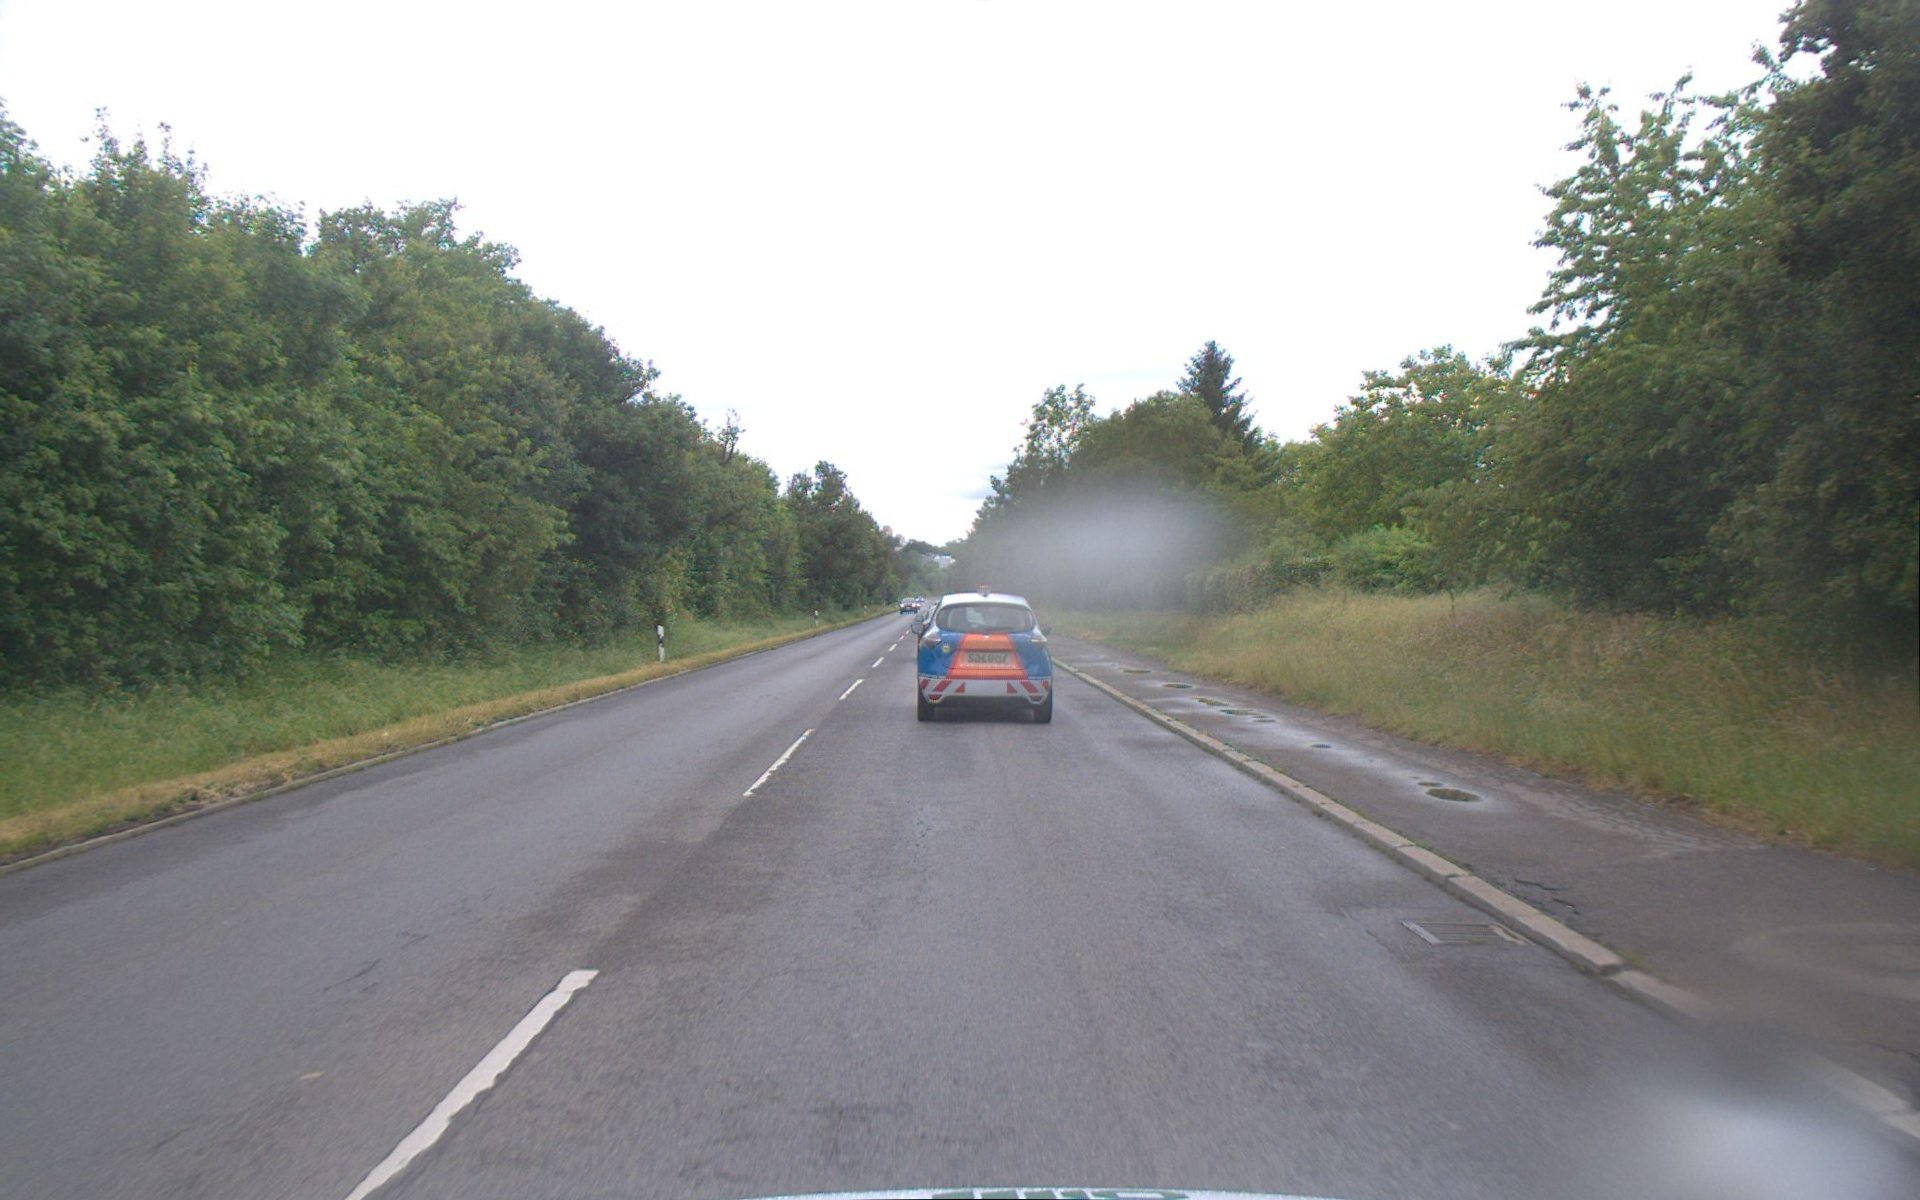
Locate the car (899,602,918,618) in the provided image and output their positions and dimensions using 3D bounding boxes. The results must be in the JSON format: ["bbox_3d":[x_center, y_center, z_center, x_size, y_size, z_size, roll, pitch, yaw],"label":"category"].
[{"bbox_3d":[-5.461,1.051,175.809,1.866,1.584,4.515,-1,0,-1],"label":"car"}]

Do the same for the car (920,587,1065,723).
[{"bbox_3d":[0.359,0.646,21.593,1.716,1.583,3.792,0,1,-1],"label":"car"}]

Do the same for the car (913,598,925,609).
[{"bbox_3d":[-5.750,0.542,233.759,1.676,1.423,4.149,-3,0,-1],"label":"car"}]

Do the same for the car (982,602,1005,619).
[{"bbox_3d":[2.927,0.895,144.503,1.953,1.400,4.000,-1,0,0],"label":"car"}]

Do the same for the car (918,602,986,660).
[{"bbox_3d":[-0.193,0.727,40.392,1.566,1.309,3.476,-1,0,0],"label":"car"}]

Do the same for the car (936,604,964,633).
[{"bbox_3d":[-0.631,1.174,107.612,1.752,1.750,4.000,-1,0,0],"label":"car"}]
